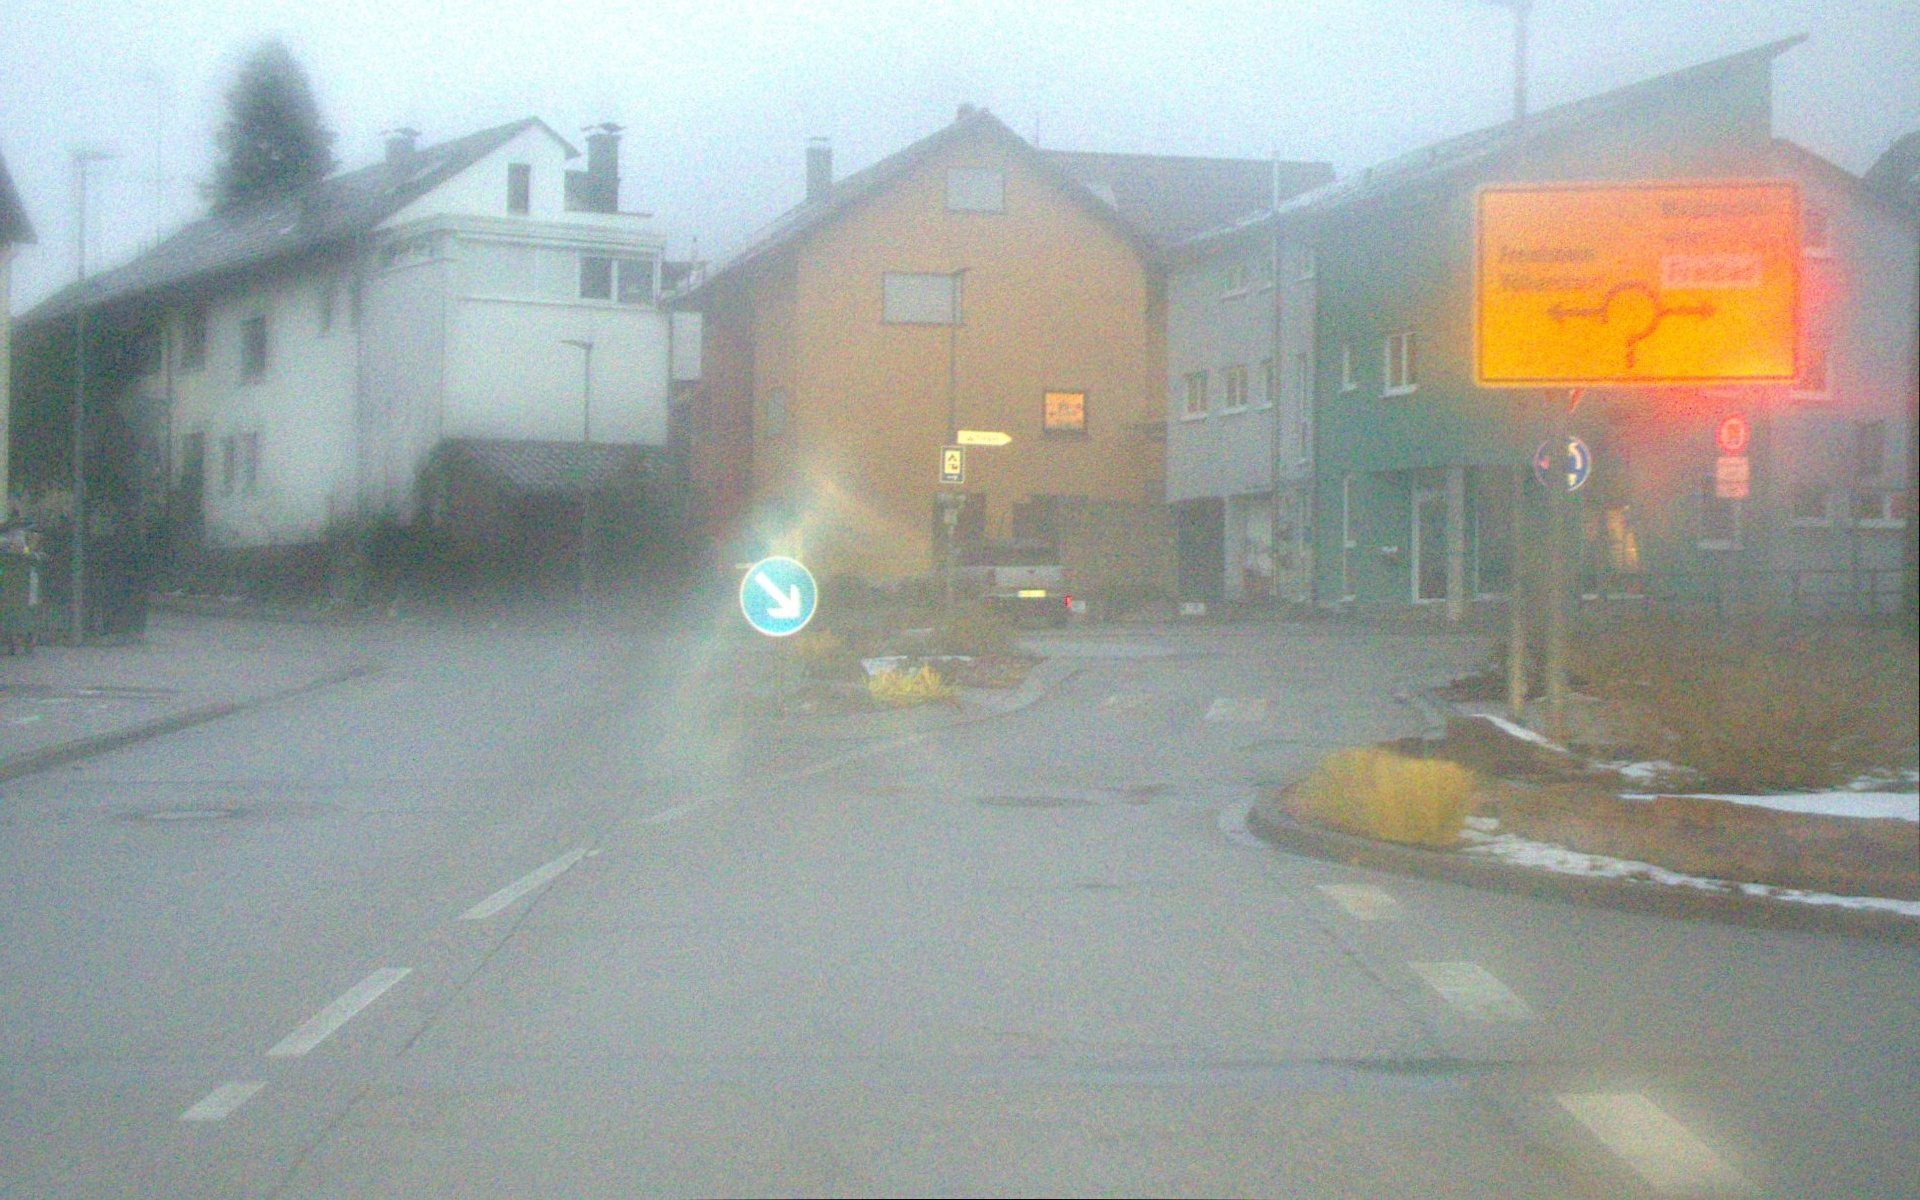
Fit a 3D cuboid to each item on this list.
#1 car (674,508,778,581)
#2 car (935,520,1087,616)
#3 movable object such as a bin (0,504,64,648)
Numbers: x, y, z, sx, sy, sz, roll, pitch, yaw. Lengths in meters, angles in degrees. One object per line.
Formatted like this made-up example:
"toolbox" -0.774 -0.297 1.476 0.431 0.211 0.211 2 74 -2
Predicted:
"car" -5.615 -1.338 82.100 1.993 1.638 4.001 1 2 -11
"car" 0.895 -0.611 62.921 1.993 1.638 4.001 1 2 -11
"movable object such as a bin" -10.469 -0.274 37.495 1.096 1.538 1.289 0 1 -2
